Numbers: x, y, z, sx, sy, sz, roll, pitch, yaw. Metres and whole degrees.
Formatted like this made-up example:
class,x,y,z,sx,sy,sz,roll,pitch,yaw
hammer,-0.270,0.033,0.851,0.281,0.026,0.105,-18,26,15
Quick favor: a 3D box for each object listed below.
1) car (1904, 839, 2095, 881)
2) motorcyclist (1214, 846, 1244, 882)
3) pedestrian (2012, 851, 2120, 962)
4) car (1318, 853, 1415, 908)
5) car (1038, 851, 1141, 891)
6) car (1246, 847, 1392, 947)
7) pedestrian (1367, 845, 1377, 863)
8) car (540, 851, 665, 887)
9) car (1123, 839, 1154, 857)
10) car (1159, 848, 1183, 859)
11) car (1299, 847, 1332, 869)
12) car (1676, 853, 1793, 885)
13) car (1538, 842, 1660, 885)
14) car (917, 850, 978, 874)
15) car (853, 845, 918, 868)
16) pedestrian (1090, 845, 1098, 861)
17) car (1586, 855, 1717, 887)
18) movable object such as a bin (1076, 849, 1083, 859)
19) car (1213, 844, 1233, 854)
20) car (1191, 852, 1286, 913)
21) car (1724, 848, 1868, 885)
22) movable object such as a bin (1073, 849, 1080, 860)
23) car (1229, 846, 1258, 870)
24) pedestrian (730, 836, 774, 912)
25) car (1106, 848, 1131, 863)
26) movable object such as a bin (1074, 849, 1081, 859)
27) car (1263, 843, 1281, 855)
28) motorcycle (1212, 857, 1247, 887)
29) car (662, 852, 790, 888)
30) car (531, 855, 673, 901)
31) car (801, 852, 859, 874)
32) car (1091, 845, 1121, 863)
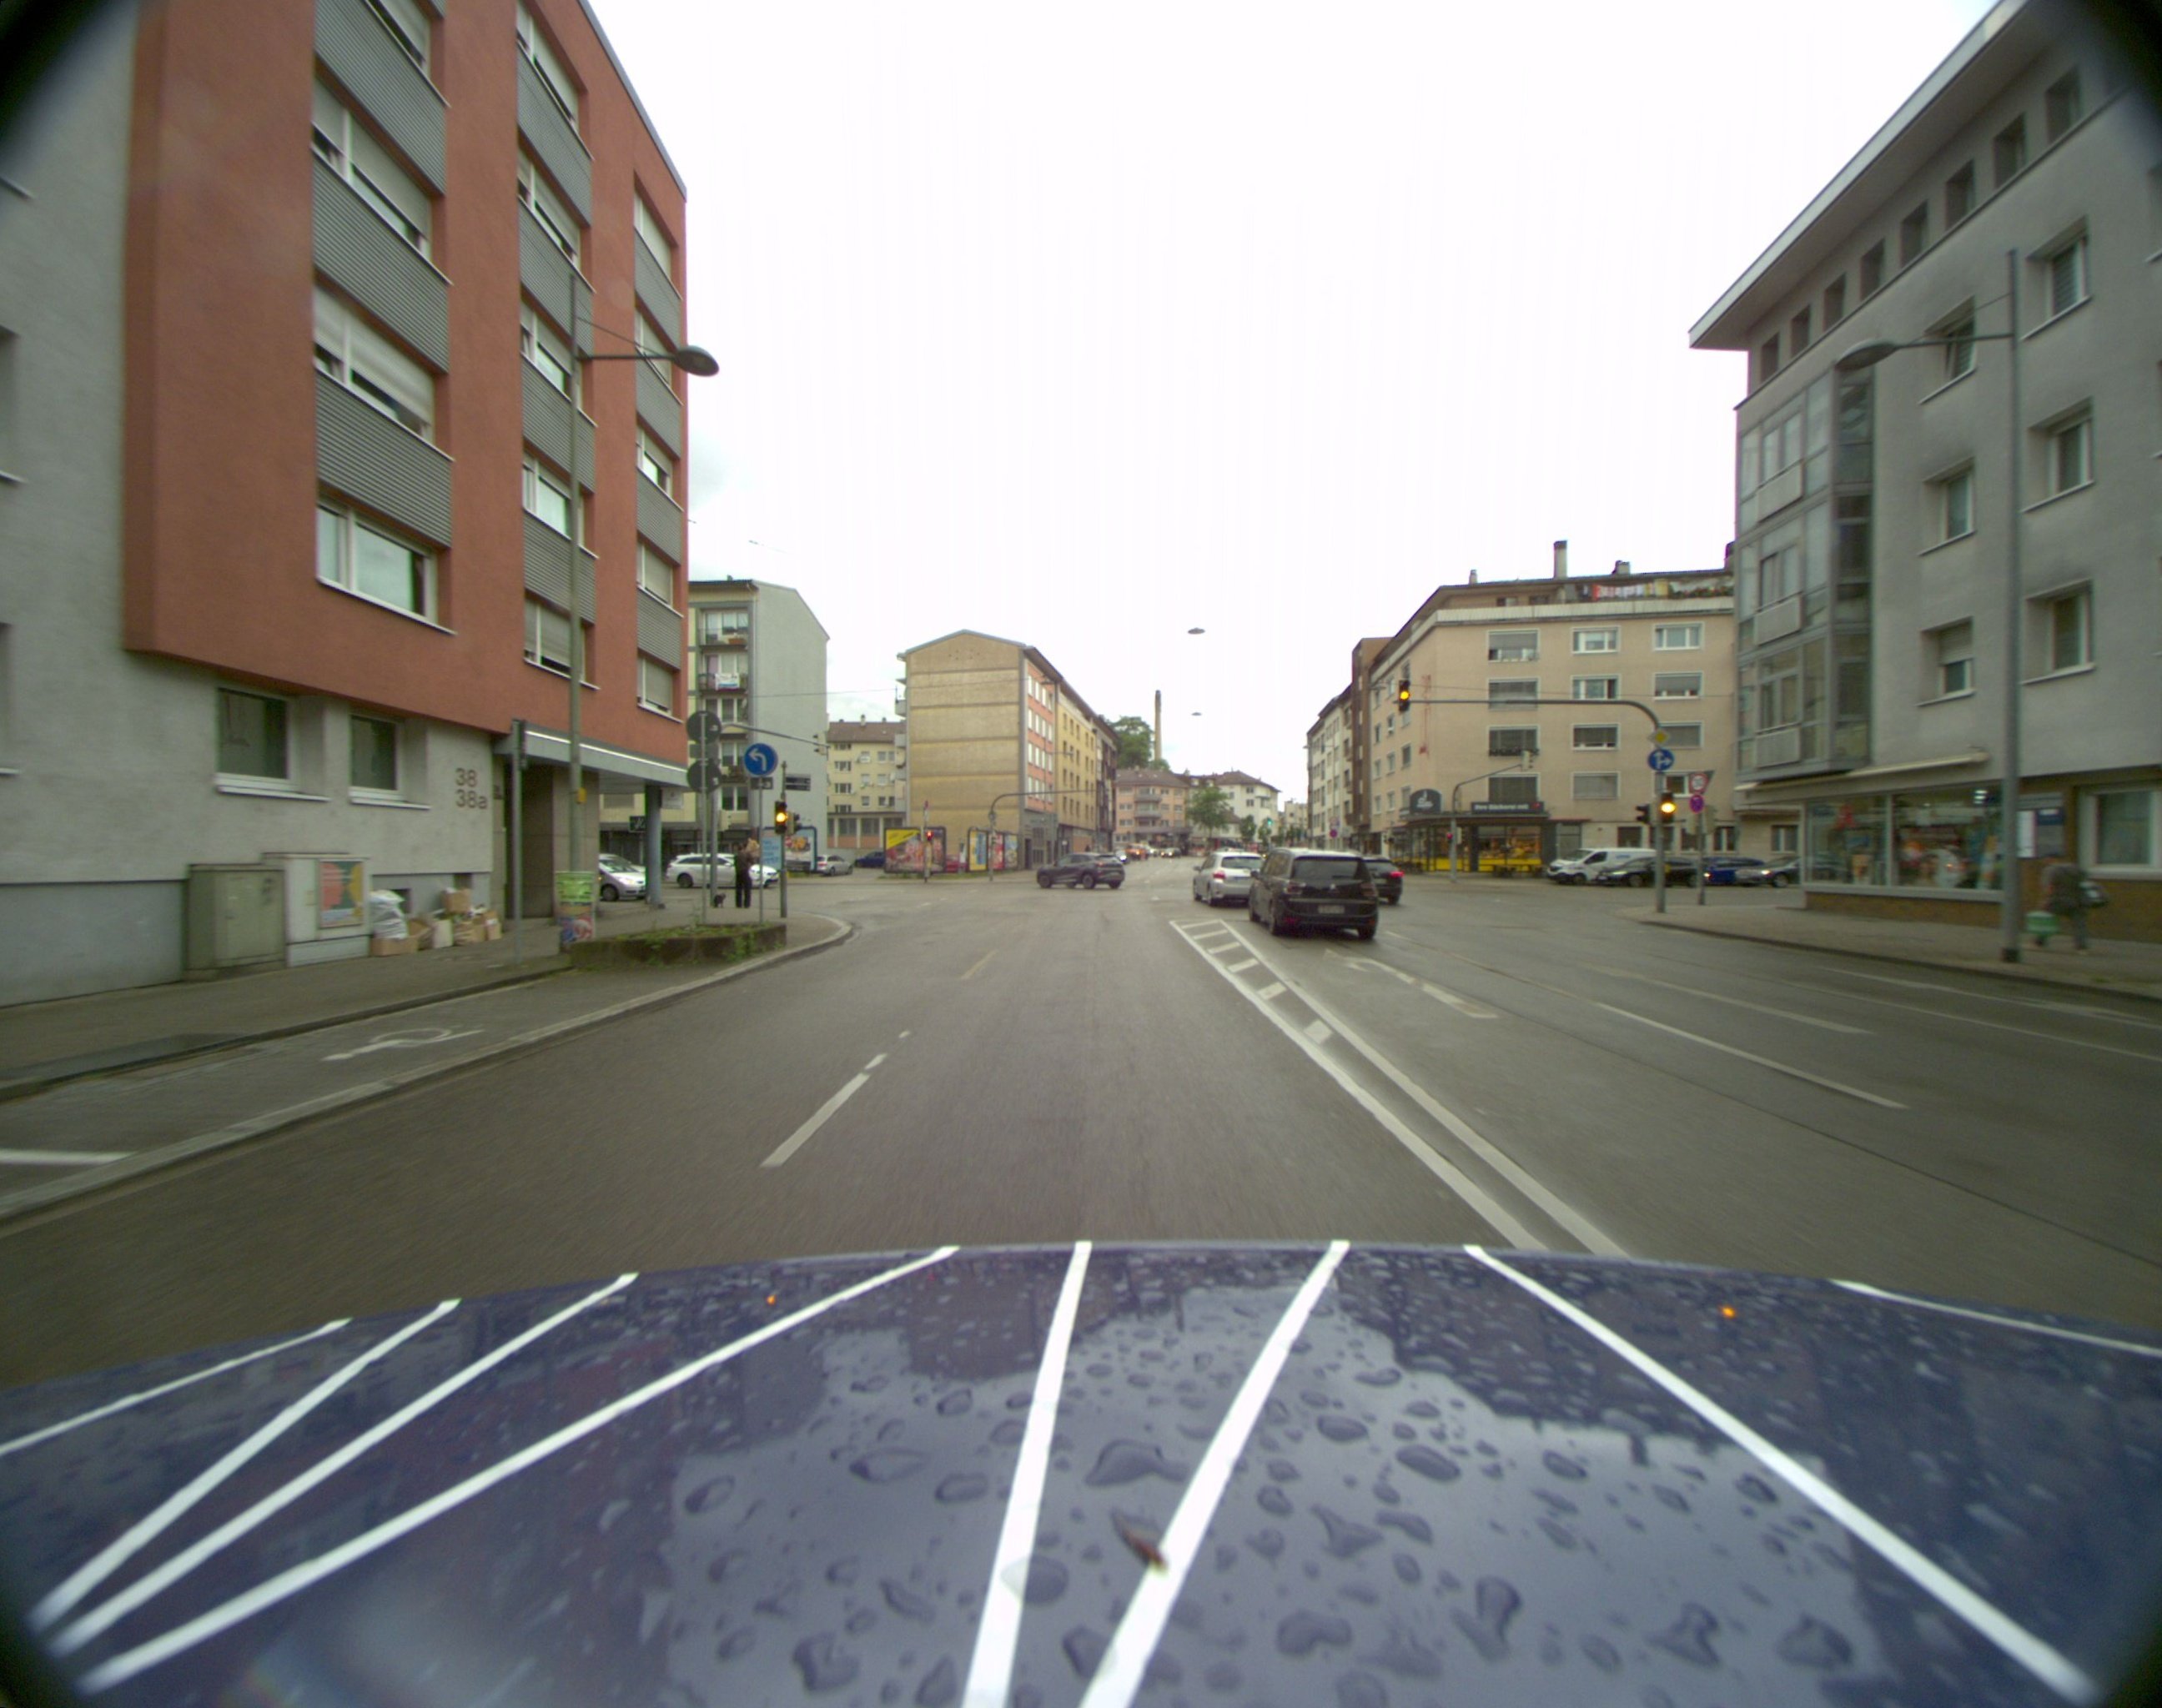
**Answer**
class,x,y,z,sx,sy,sz,roll,pitch,yaw
car,33.819,0.219,28.086,4.495,1.379,2.001,2,-1,2
motorcyclist,6.215,0.401,31.935,0.918,1.485,0.863,-2,1,-15
pedestrian,14.506,0.757,11.210,0.688,1.572,0.652,-3,0,9
car,8.812,0.751,23.839,1.824,1.425,4.400,0,2,7
car,0.295,0.646,32.111,4.213,1.544,1.866,1,1,44
car,4.422,0.691,14.841,1.824,1.599,4.431,0,2,5
pedestrian,24.712,0.002,64.515,0.544,1.574,0.669,-1,2,-5
car,-21.052,0.636,33.500,4.518,1.477,1.846,0,1,7
car,6.989,-0.691,91.147,2.195,2.074,5.941,-1,1,20
car,12.390,-0.044,104.798,1.840,1.433,4.007,-2,0,29
car,18.379,0.276,59.691,1.911,1.545,4.633,1,1,11
car,34.426,0.767,40.106,4.337,1.547,2.045,0,3,0
car,27.143,0.476,39.973,4.862,2.091,2.046,0,3,4
car,-8.958,0.517,51.286,3.661,1.542,2.088,0,0,2
car,-15.785,0.209,61.449,4.767,1.679,2.159,-2,0,27
pedestrian,1.438,-0.143,84.767,0.674,1.777,1.096,-1,1,12
car,25.483,0.739,34.064,4.337,1.368,2.047,0,-1,0
movable object such as a bin,-0.138,-0.033,81.399,0.682,1.070,0.669,0,2,9
car,22.735,-0.810,121.731,1.810,1.334,4.007,-2,0,30
car,4.415,0.737,21.950,1.939,1.518,4.134,0,2,1
car,32.258,0.571,34.380,4.652,1.580,2.046,0,-1,-1
movable object such as a bin,-0.474,0.050,79.359,0.682,1.070,0.669,0,2,9
car,12.333,0.269,57.908,1.824,1.630,4.375,0,2,8
pedestrian,-9.471,0.572,21.899,0.827,2.146,0.770,-2,0,7
car,3.834,0.138,76.415,1.810,1.332,4.280,1,2,12
movable object such as a bin,-0.352,0.024,80.050,0.682,1.070,0.669,0,2,9
car,35.741,-0.920,142.143,1.995,2.002,4.008,-2,0,34
motorcycle,6.217,0.733,31.980,0.589,1.184,2.099,-2,1,-15
car,-15.325,0.678,32.929,4.660,1.477,1.920,0,1,6
car,-16.519,0.803,26.302,3.953,1.477,1.703,0,1,7
car,-16.448,0.563,50.043,1.878,1.431,4.333,0,0,8
car,2.162,-0.045,64.539,2.038,1.380,5.295,1,2,8
